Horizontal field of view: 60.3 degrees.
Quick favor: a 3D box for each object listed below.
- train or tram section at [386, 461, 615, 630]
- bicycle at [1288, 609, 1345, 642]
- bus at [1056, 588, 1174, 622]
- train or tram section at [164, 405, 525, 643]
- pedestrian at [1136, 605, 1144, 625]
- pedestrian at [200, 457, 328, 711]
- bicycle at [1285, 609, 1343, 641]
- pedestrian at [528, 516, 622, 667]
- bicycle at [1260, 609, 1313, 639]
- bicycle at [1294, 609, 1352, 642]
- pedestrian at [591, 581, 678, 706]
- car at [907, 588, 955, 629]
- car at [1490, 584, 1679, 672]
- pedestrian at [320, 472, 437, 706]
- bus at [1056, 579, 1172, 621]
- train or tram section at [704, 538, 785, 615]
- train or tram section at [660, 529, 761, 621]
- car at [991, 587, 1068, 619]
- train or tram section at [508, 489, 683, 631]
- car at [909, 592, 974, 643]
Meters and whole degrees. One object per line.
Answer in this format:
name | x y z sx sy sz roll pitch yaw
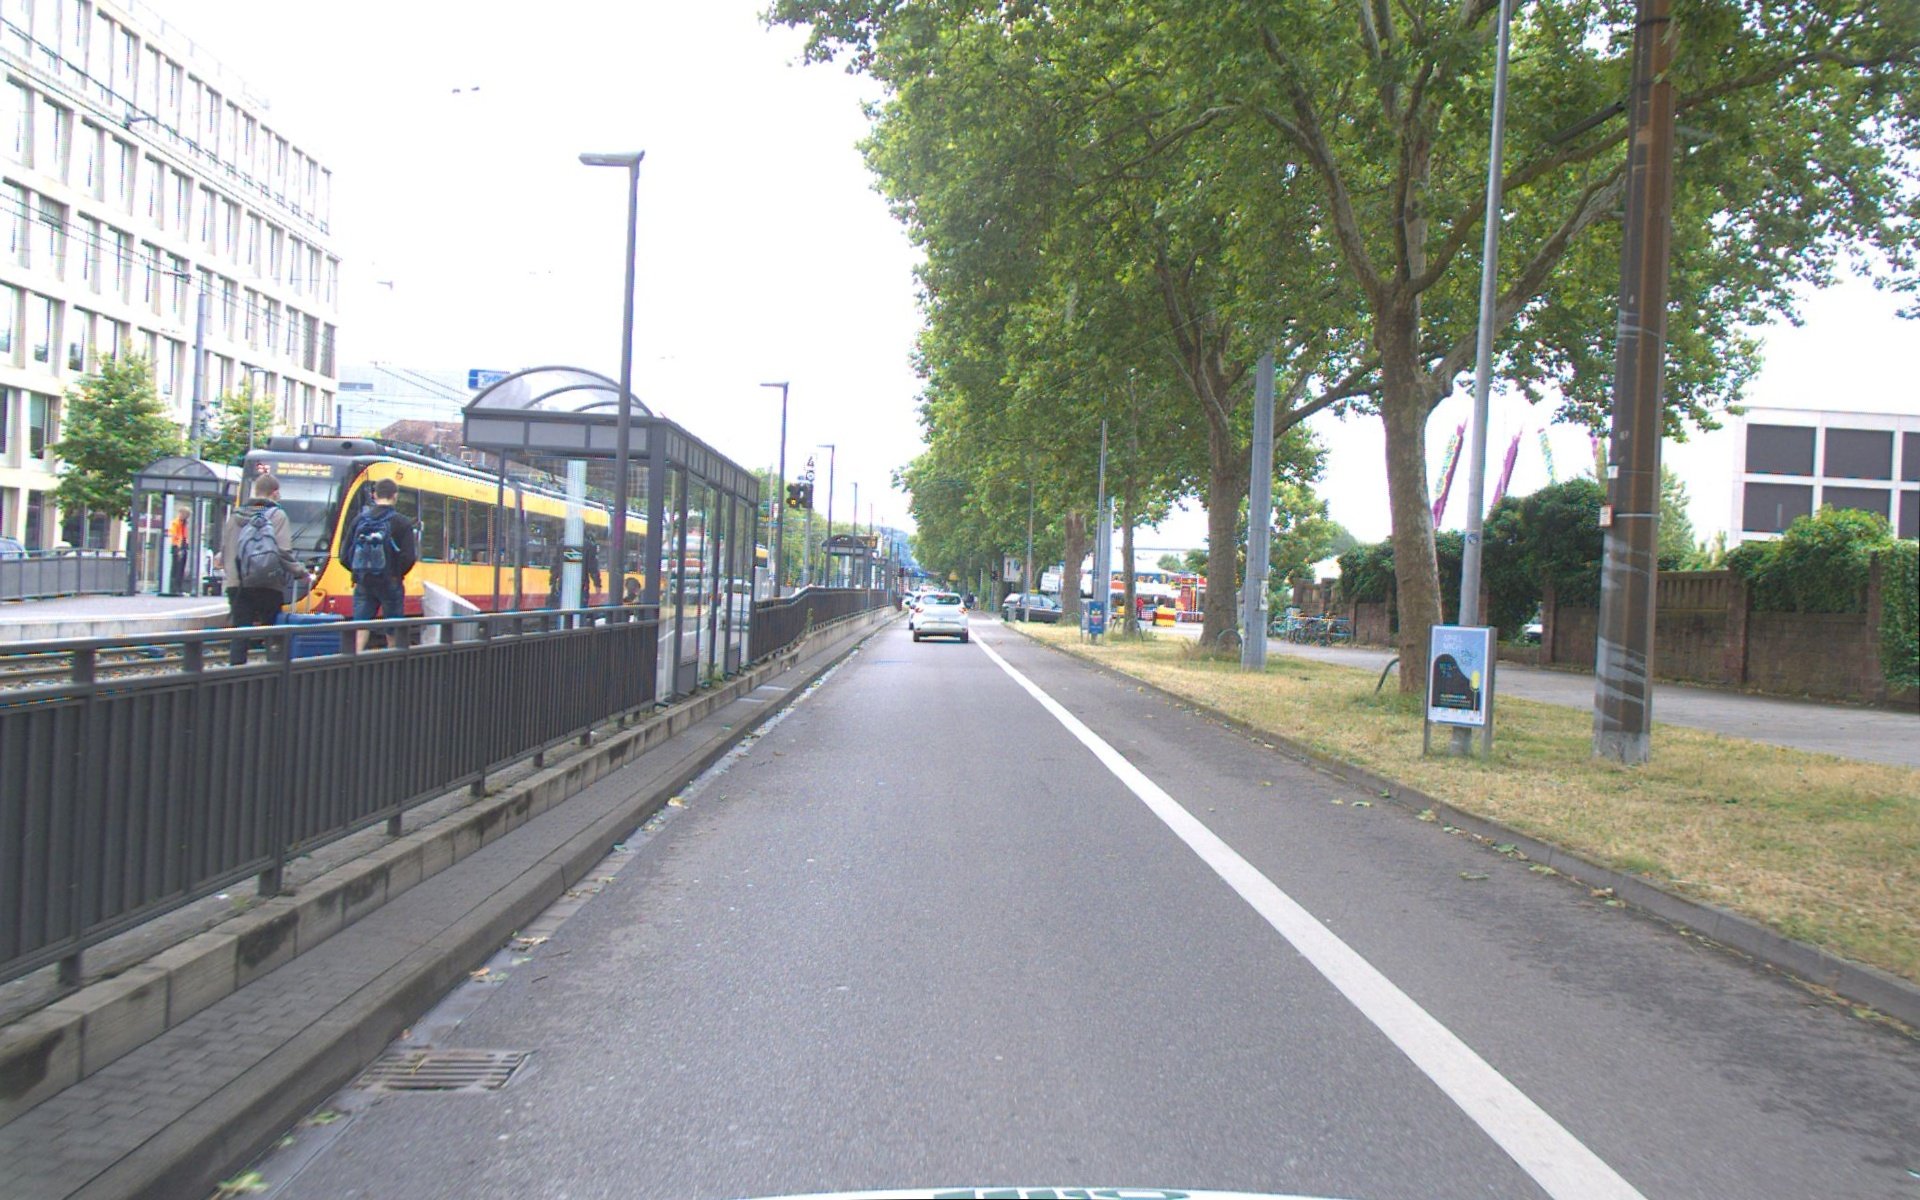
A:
train or tram section | -12.164 -1.264 45.210 3.099 3.929 11.308 2 0 -1
bicycle | 12.451 0.878 57.787 1.862 1.116 0.549 1 0 -3
bus | 12.328 0.391 131.490 9.094 2.266 1.998 2 -1 -4
train or tram section | -11.974 -1.254 33.862 3.172 3.929 11.308 2 0 -1
pedestrian | 13.620 1.110 125.379 0.483 1.488 0.523 2 -1 -4
pedestrian | -5.277 -0.114 12.601 0.658 1.825 1.109 2 -1 -14
bicycle | 12.498 0.880 58.427 1.935 1.114 0.549 1 0 -3
pedestrian | -5.378 -0.114 23.152 1.037 2.049 0.840 2 -1 -1
bicycle | 12.302 0.902 62.363 1.883 1.110 0.549 1 0 -3
bicycle | 12.554 0.870 57.212 1.852 1.124 0.549 1 0 -3
pedestrian | -3.606 0.478 18.365 0.818 1.326 0.613 2 -1 -3
car | -1.155 0.343 67.497 1.803 1.579 4.000 2 0 0
car | 18.765 0.844 49.802 4.995 2.304 1.665 3 -1 -4
pedestrian | -4.768 -0.086 13.624 0.658 1.825 1.110 2 -1 -10
bus | 12.536 0.025 134.657 9.094 3.011 1.998 2 -1 -4
train or tram section | -13.023 -1.278 101.532 3.116 4.252 14.730 2 0 -1
train or tram section | -12.861 -1.147 86.741 3.116 4.252 14.730 2 0 -1
car | 3.589 0.125 85.545 3.904 1.512 1.787 2 0 2
train or tram section | -12.371 -1.180 57.763 3.116 4.252 13.617 2 0 -1
car | -0.624 0.546 51.979 1.848 1.478 3.997 2 0 -3
